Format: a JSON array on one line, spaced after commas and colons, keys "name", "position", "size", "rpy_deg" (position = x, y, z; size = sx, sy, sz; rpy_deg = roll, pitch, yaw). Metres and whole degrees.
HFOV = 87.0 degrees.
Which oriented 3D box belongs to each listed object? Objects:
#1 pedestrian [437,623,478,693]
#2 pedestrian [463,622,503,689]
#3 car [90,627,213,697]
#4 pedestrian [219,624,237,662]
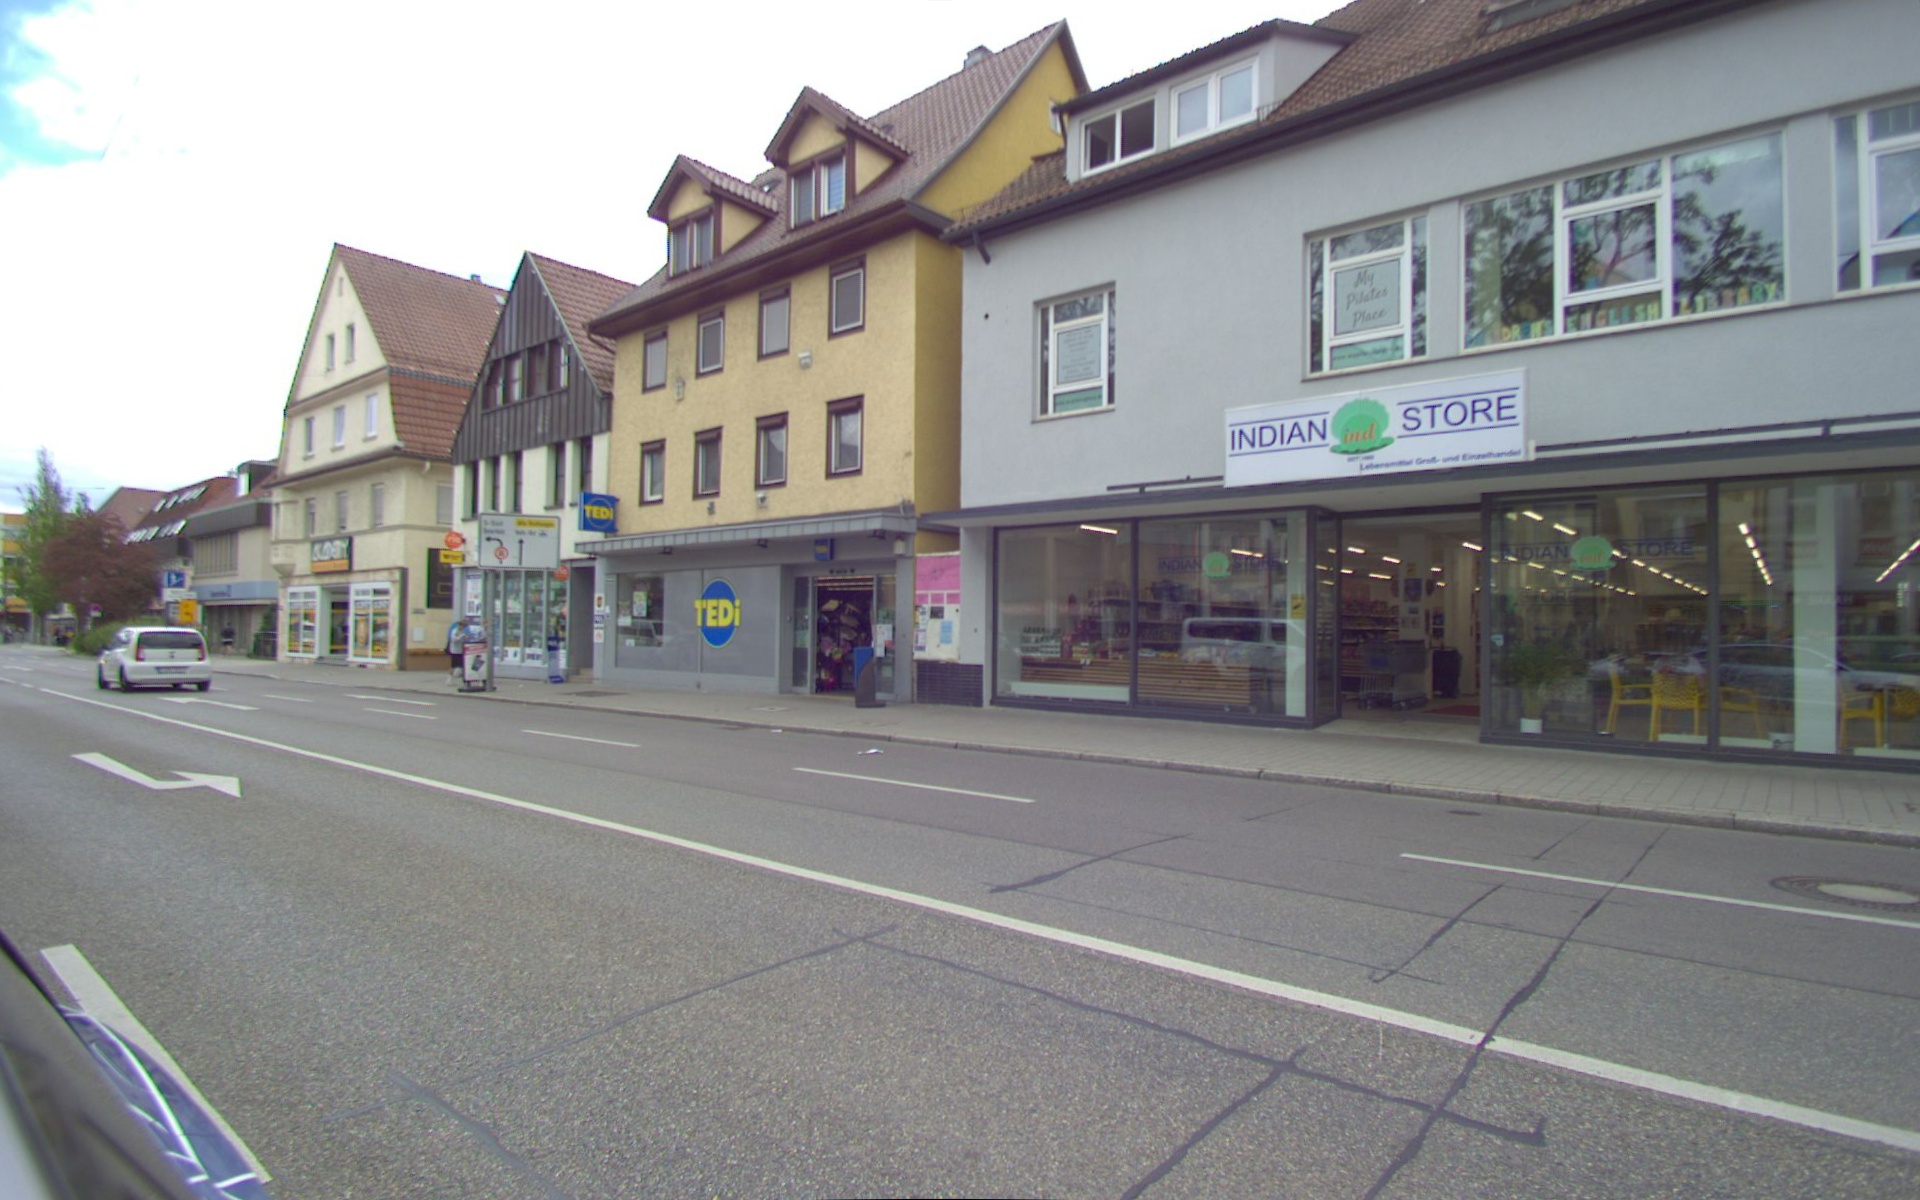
[{"name": "pedestrian", "position": [-12.641, 1.449, 25.469], "size": [0.742, 1.703, 0.680], "rpy_deg": [-2, -2, 41]}, {"name": "pedestrian", "position": [-12.447, 1.426, 26.410], "size": [0.709, 1.683, 0.681], "rpy_deg": [-2, 0, 41]}, {"name": "car", "position": [-18.784, 1.405, 23.470], "size": [3.461, 1.500, 1.558], "rpy_deg": [-2, -4, 40]}, {"name": "pedestrian", "position": [-36.343, 2.129, 50.239], "size": [0.592, 1.903, 0.544], "rpy_deg": [-2, -1, 37]}]
